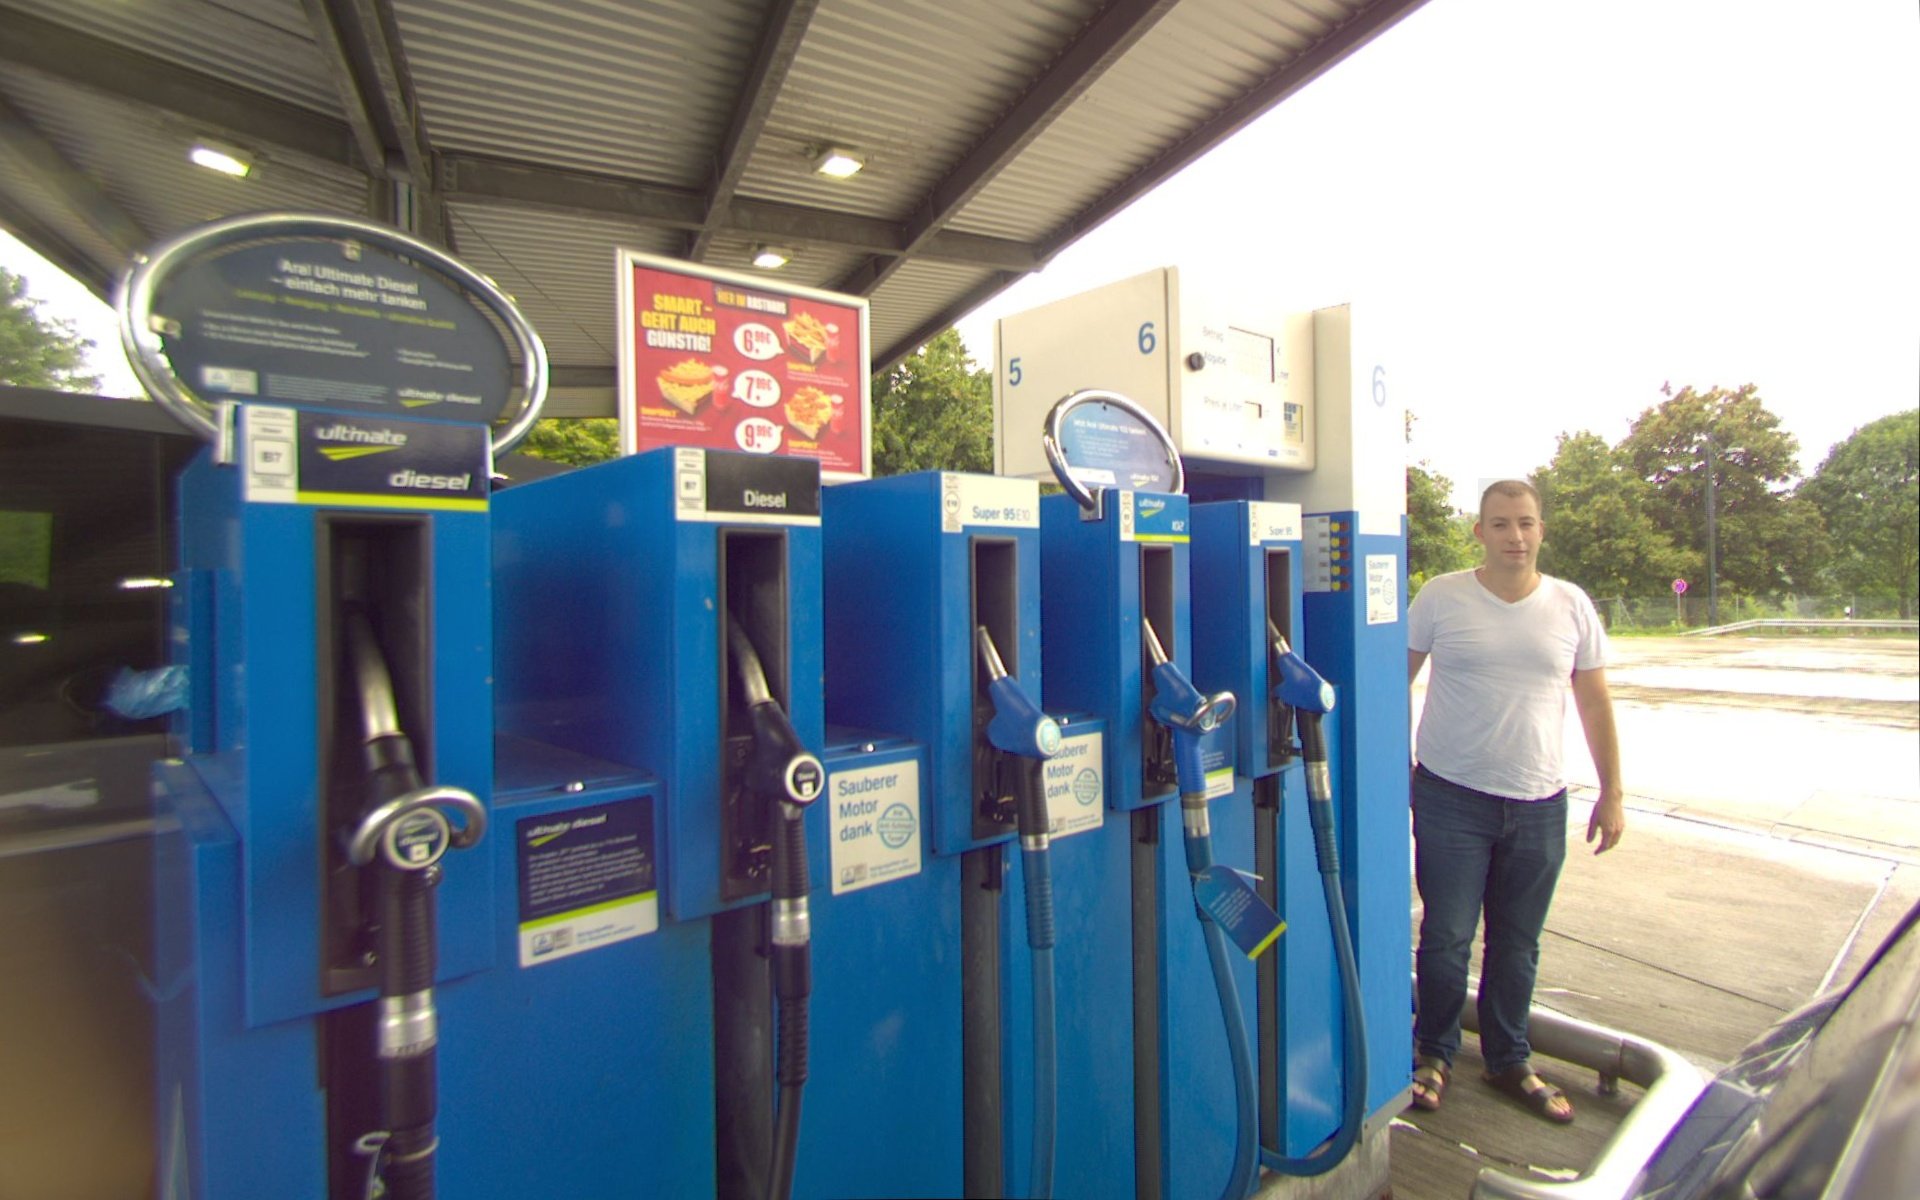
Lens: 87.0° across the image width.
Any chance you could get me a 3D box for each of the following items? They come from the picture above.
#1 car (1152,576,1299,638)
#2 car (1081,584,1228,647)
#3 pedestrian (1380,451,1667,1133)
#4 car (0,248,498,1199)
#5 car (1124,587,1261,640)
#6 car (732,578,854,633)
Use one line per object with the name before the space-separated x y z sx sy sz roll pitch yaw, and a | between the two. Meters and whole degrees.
car | 8.926 0.208 34.337 4.700 2.011 2.007 0 0 14
car | 5.804 0.420 30.016 4.123 1.752 1.990 0 0 17
pedestrian | 1.645 0.515 3.034 0.625 1.832 0.492 -1 1 15
car | -3.024 0.423 1.481 3.930 1.973 1.819 0 0 -41
car | 7.392 0.404 32.151 4.123 1.576 1.990 0 0 17
car | -5.577 0.151 33.487 1.967 1.683 4.170 0 0 -44
